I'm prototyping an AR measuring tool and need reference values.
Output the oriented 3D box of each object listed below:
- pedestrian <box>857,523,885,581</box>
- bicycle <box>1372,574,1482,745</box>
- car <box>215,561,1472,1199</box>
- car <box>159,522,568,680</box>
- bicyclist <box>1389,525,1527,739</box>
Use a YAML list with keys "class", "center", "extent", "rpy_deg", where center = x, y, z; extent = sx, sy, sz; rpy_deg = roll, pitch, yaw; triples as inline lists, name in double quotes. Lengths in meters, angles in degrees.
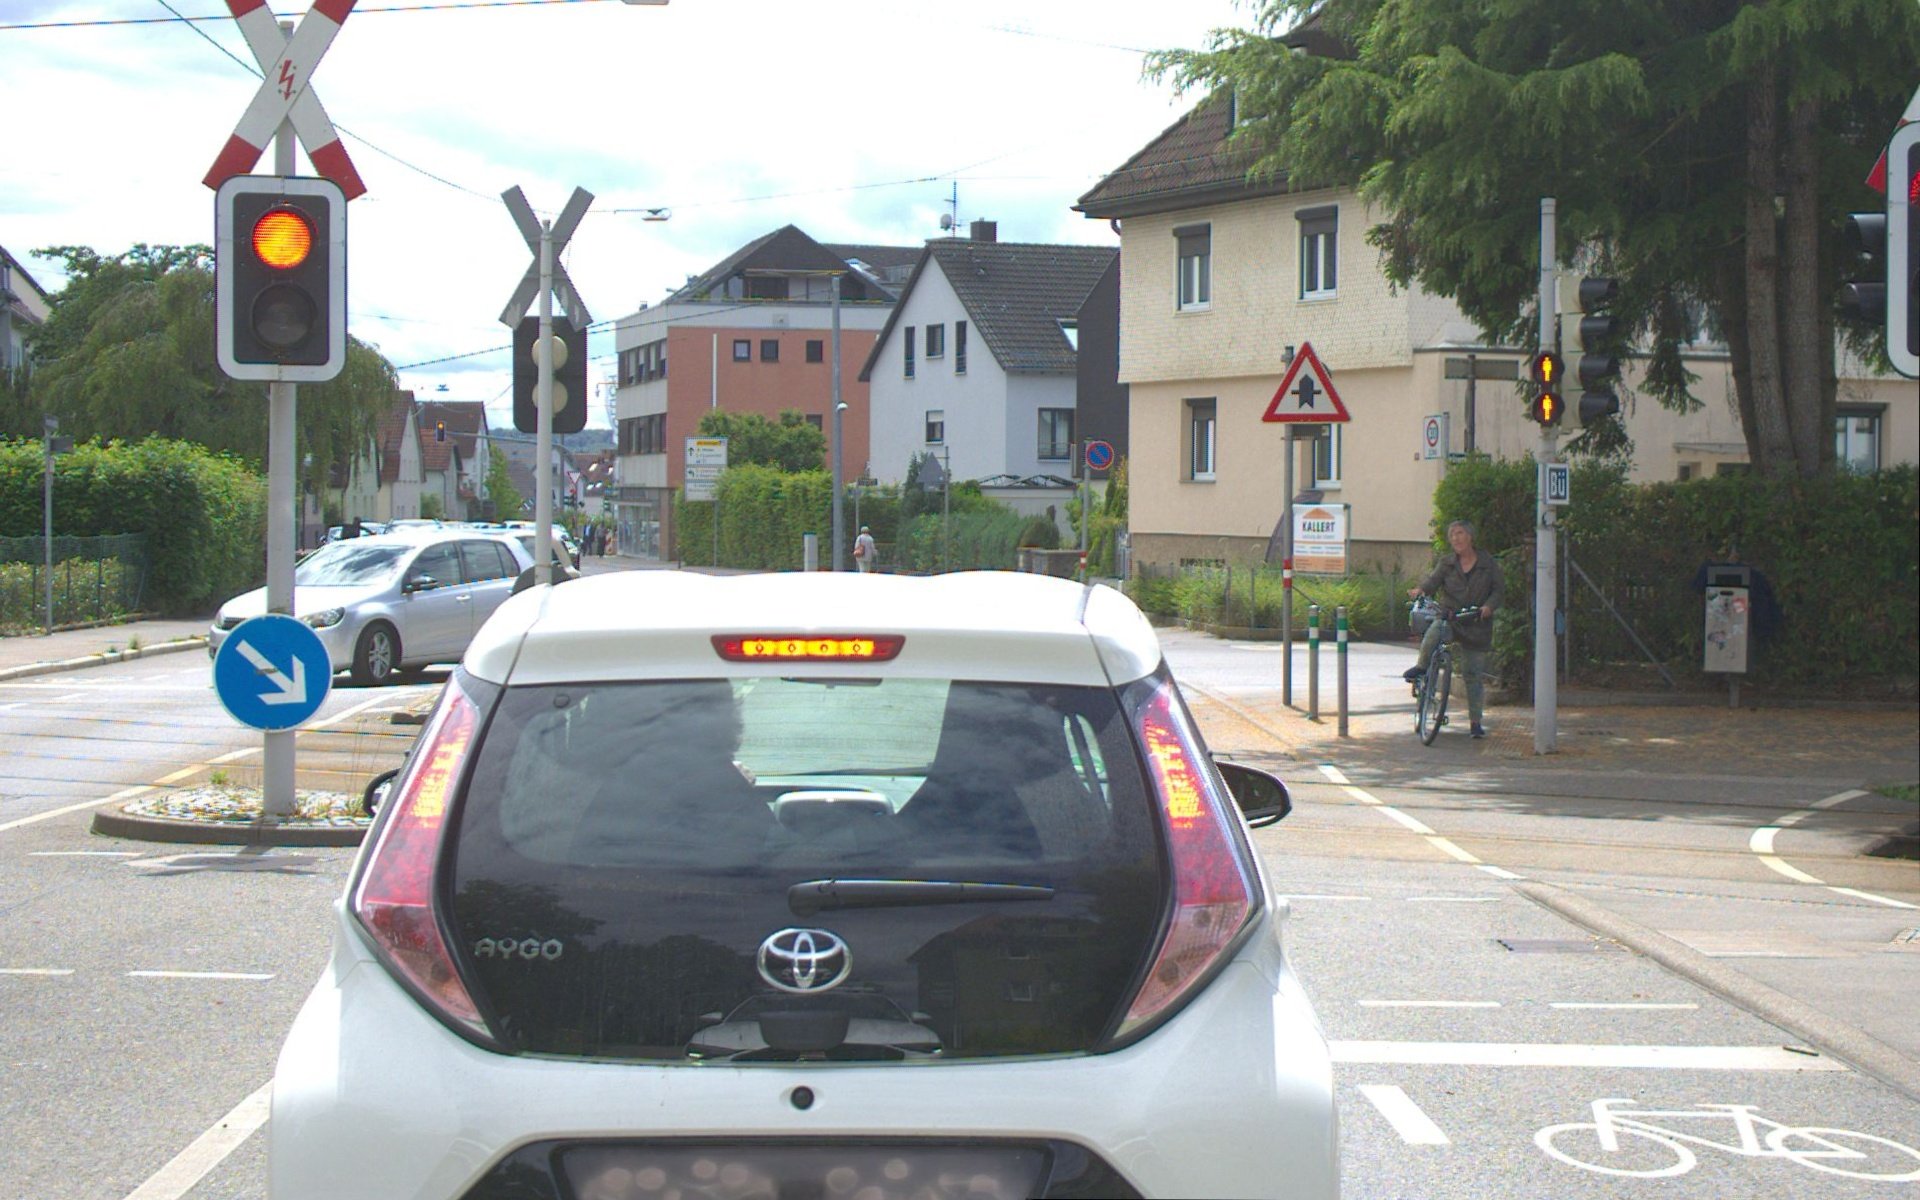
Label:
- class: "pedestrian"
  center: [-2.457, -1.325, 94.881]
  extent: [0.726, 1.571, 0.803]
  rpy_deg: [2, 1, 0]
- class: "bicycle"
  center: [3.544, 0.435, 26.153]
  extent: [0.457, 1.168, 1.480]
  rpy_deg: [-2, 4, -6]
- class: "car"
  center: [-0.281, 0.668, 6.589]
  extent: [1.721, 1.437, 3.709]
  rpy_deg: [1, 1, -4]
- class: "car"
  center: [-5.898, 0.000, 34.477]
  extent: [1.908, 1.436, 4.092]
  rpy_deg: [2, 1, 28]
- class: "bicyclist"
  center: [3.777, 0.232, 26.125]
  extent: [0.840, 1.548, 0.756]
  rpy_deg: [-2, 3, -6]
